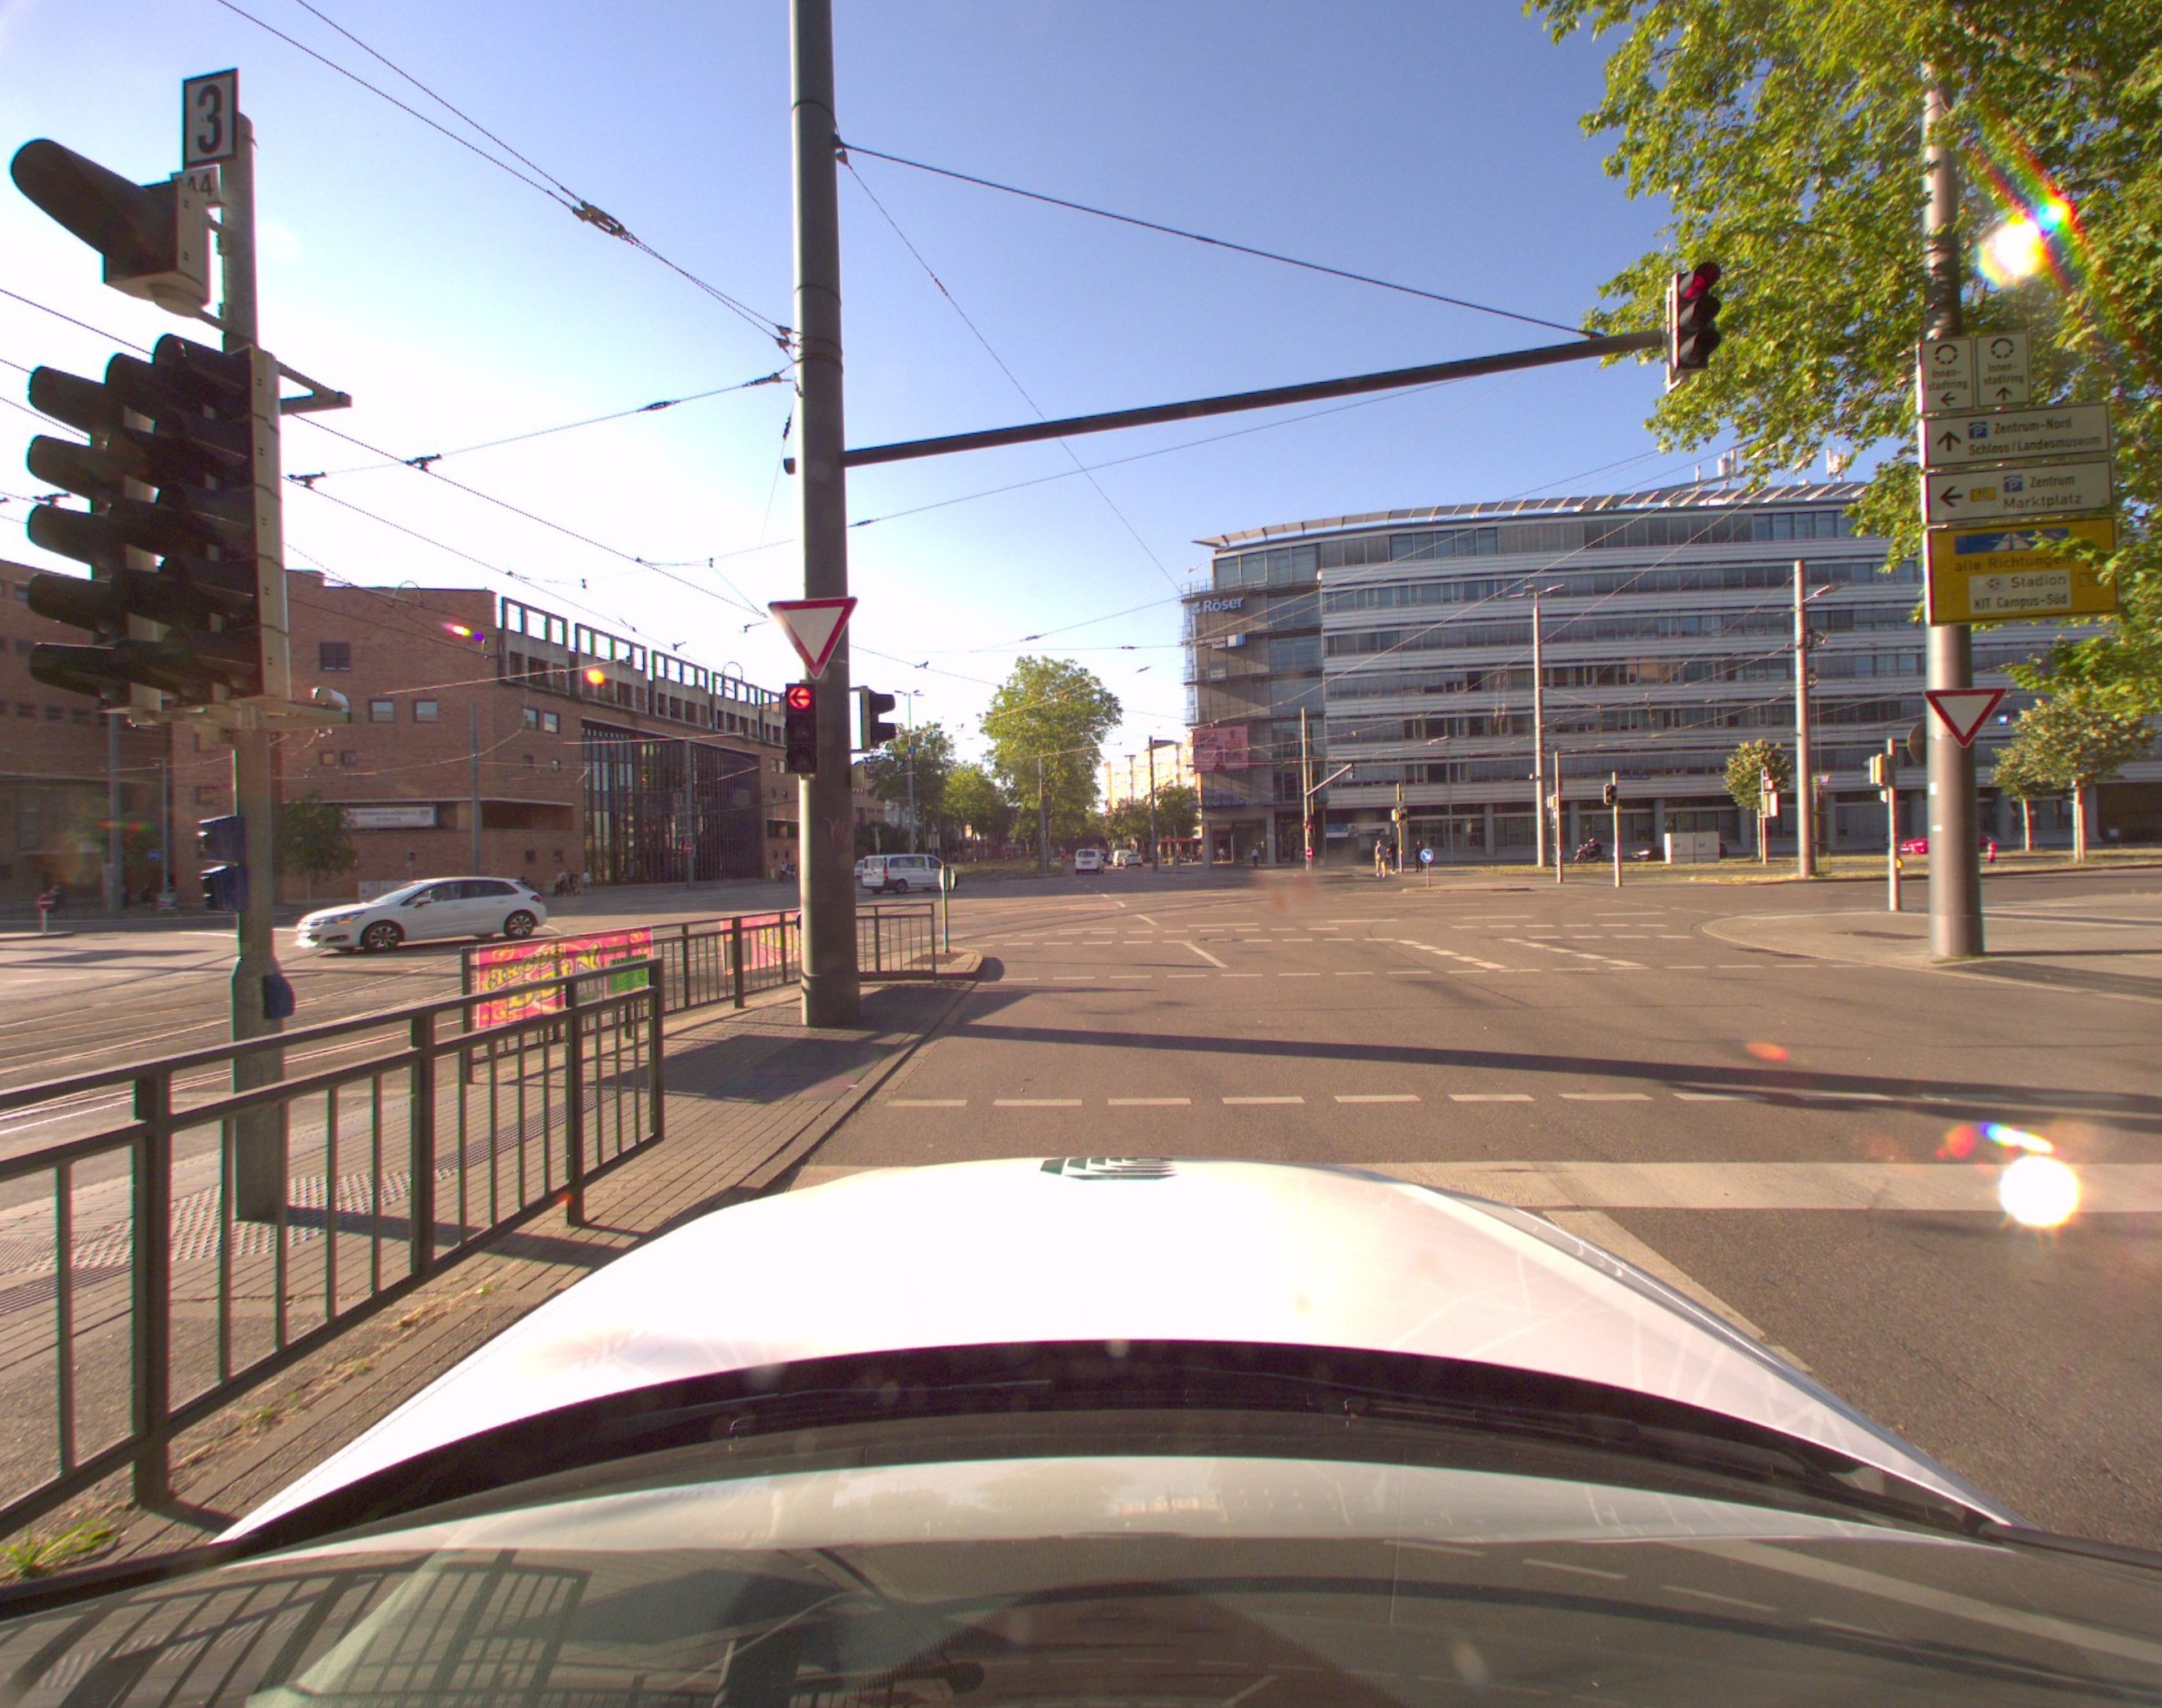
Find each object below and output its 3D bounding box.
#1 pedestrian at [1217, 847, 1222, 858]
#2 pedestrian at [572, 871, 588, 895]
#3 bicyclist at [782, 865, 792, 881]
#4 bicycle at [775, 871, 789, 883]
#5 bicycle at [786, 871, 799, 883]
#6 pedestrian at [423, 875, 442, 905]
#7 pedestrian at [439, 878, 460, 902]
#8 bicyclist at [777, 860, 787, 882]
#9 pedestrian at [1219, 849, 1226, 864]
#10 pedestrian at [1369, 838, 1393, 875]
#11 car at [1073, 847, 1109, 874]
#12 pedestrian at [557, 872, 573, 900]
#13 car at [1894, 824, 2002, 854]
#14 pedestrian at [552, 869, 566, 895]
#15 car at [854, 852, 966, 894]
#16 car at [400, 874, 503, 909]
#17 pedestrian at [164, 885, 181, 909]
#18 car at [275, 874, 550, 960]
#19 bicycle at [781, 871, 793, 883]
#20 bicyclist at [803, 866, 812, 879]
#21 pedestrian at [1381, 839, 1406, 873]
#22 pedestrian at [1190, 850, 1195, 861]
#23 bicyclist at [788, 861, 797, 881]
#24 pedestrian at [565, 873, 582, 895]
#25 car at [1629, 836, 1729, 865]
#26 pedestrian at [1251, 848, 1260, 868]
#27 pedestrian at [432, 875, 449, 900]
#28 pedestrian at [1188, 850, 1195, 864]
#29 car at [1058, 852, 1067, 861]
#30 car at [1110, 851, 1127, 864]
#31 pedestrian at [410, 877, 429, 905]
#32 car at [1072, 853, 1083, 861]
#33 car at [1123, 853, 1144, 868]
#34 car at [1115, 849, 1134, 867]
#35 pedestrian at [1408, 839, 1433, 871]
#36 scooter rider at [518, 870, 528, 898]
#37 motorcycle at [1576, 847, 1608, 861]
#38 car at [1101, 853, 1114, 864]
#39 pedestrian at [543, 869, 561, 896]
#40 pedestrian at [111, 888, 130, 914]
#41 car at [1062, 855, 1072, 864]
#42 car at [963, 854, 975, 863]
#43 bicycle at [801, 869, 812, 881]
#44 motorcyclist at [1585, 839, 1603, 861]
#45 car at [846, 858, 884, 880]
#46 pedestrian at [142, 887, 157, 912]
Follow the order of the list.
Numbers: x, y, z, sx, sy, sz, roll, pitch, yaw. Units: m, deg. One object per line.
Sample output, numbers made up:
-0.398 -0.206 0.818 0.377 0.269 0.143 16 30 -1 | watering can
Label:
22.265 -0.308 130.821 0.741 1.714 0.612 -2 0 1 | pedestrian
-33.485 1.935 54.473 0.607 1.625 0.619 -2 0 8 | pedestrian
-25.026 1.617 69.329 0.503 1.304 0.581 -2 0 1 | bicyclist
-24.340 1.879 66.318 0.540 0.963 1.587 -2 0 2 | bicycle
-23.506 1.862 66.375 0.471 0.963 1.576 -2 0 2 | bicycle
-37.553 2.084 47.137 0.597 1.648 0.549 -2 0 1 | pedestrian
-36.537 2.076 47.100 0.597 1.339 0.684 -2 0 17 | pedestrian
-24.351 1.369 66.332 0.534 1.731 0.581 -2 0 1 | bicyclist
14.515 0.224 83.447 0.608 1.507 0.580 -2 0 9 | pedestrian
14.747 0.123 40.046 0.859 1.788 0.873 -2 0 6 | pedestrian
0.772 0.444 60.829 1.744 1.867 4.540 -2 0 12 | car
-32.849 2.034 51.879 0.586 1.683 0.553 -2 0 14 | pedestrian
49.340 -0.845 46.407 3.966 1.393 1.789 -4 0 7 | car
-34.394 1.819 53.688 0.566 1.683 0.553 -2 0 29 | pedestrian
-8.261 0.889 39.806 1.942 1.848 5.364 -2 0 36 | car
-32.521 1.931 42.155 3.699 1.575 2.001 -2 0 -3 | car
-55.926 2.627 50.133 0.549 1.427 0.563 -2 0 33 | pedestrian
-14.545 1.281 18.016 1.739 1.488 4.336 -2 0 30 | car
-25.026 1.977 69.259 0.466 0.963 1.320 -2 0 2 | bicycle
-24.328 1.646 72.413 0.503 1.179 0.581 -2 0 1 | bicyclist
15.975 0.090 41.643 0.907 1.685 1.038 -2 0 9 | pedestrian
14.329 0.201 104.794 0.575 1.289 0.910 -2 0 2 | pedestrian
-23.531 1.386 66.384 0.456 1.603 0.581 -2 0 1 | bicyclist
-33.255 1.982 53.353 0.635 1.421 0.602 -2 0 13 | pedestrian
33.246 -0.197 45.387 4.136 1.398 1.789 -2 0 7 | car
13.490 0.313 63.058 0.609 1.507 0.580 -2 0 6 | pedestrian
-38.037 1.970 48.365 0.568 1.453 0.612 -2 0 -13 | pedestrian
14.182 0.401 104.795 0.741 1.714 0.612 -2 0 1 | pedestrian
-4.566 0.630 205.645 1.986 2.013 4.001 -2 0 1 | car
4.821 0.475 105.301 1.986 1.618 4.002 -2 0 2 | car
-38.449 2.142 47.342 0.594 1.614 0.589 -2 0 1 | pedestrian
-0.660 0.588 149.292 1.791 1.442 4.002 -2 0 2 | car
5.290 0.619 82.828 1.986 1.376 4.002 -2 0 2 | car
4.744 0.448 89.645 1.986 1.860 4.002 -2 0 2 | car
17.290 0.061 41.455 0.943 1.564 0.899 -2 0 9 | pedestrian
-33.713 1.809 49.193 0.441 1.647 0.226 -2 0 -44 | scooter rider
30.494 0.006 48.587 1.560 0.810 0.468 -2 0 6 | motorcycle
4.094 0.654 126.783 1.986 1.618 4.002 -2 0 2 | car
-33.903 1.843 52.191 0.643 1.683 0.625 -2 0 20 | pedestrian
-56.153 2.742 47.615 0.508 1.463 0.466 -2 0 -6 | pedestrian
-2.531 0.999 147.433 1.792 1.442 3.999 0 -1 0 | car
-26.047 1.109 189.480 1.987 2.013 3.999 -2 0 -1 | car
-24.318 1.863 72.283 0.449 0.963 1.348 -2 0 2 | bicycle
30.594 -0.233 48.583 0.708 1.275 0.460 -2 0 5 | motorcyclist
-18.005 1.220 67.959 1.987 1.640 4.001 -2 0 1 | car
-56.974 2.772 49.817 0.583 1.463 0.537 -2 0 34 | pedestrian
